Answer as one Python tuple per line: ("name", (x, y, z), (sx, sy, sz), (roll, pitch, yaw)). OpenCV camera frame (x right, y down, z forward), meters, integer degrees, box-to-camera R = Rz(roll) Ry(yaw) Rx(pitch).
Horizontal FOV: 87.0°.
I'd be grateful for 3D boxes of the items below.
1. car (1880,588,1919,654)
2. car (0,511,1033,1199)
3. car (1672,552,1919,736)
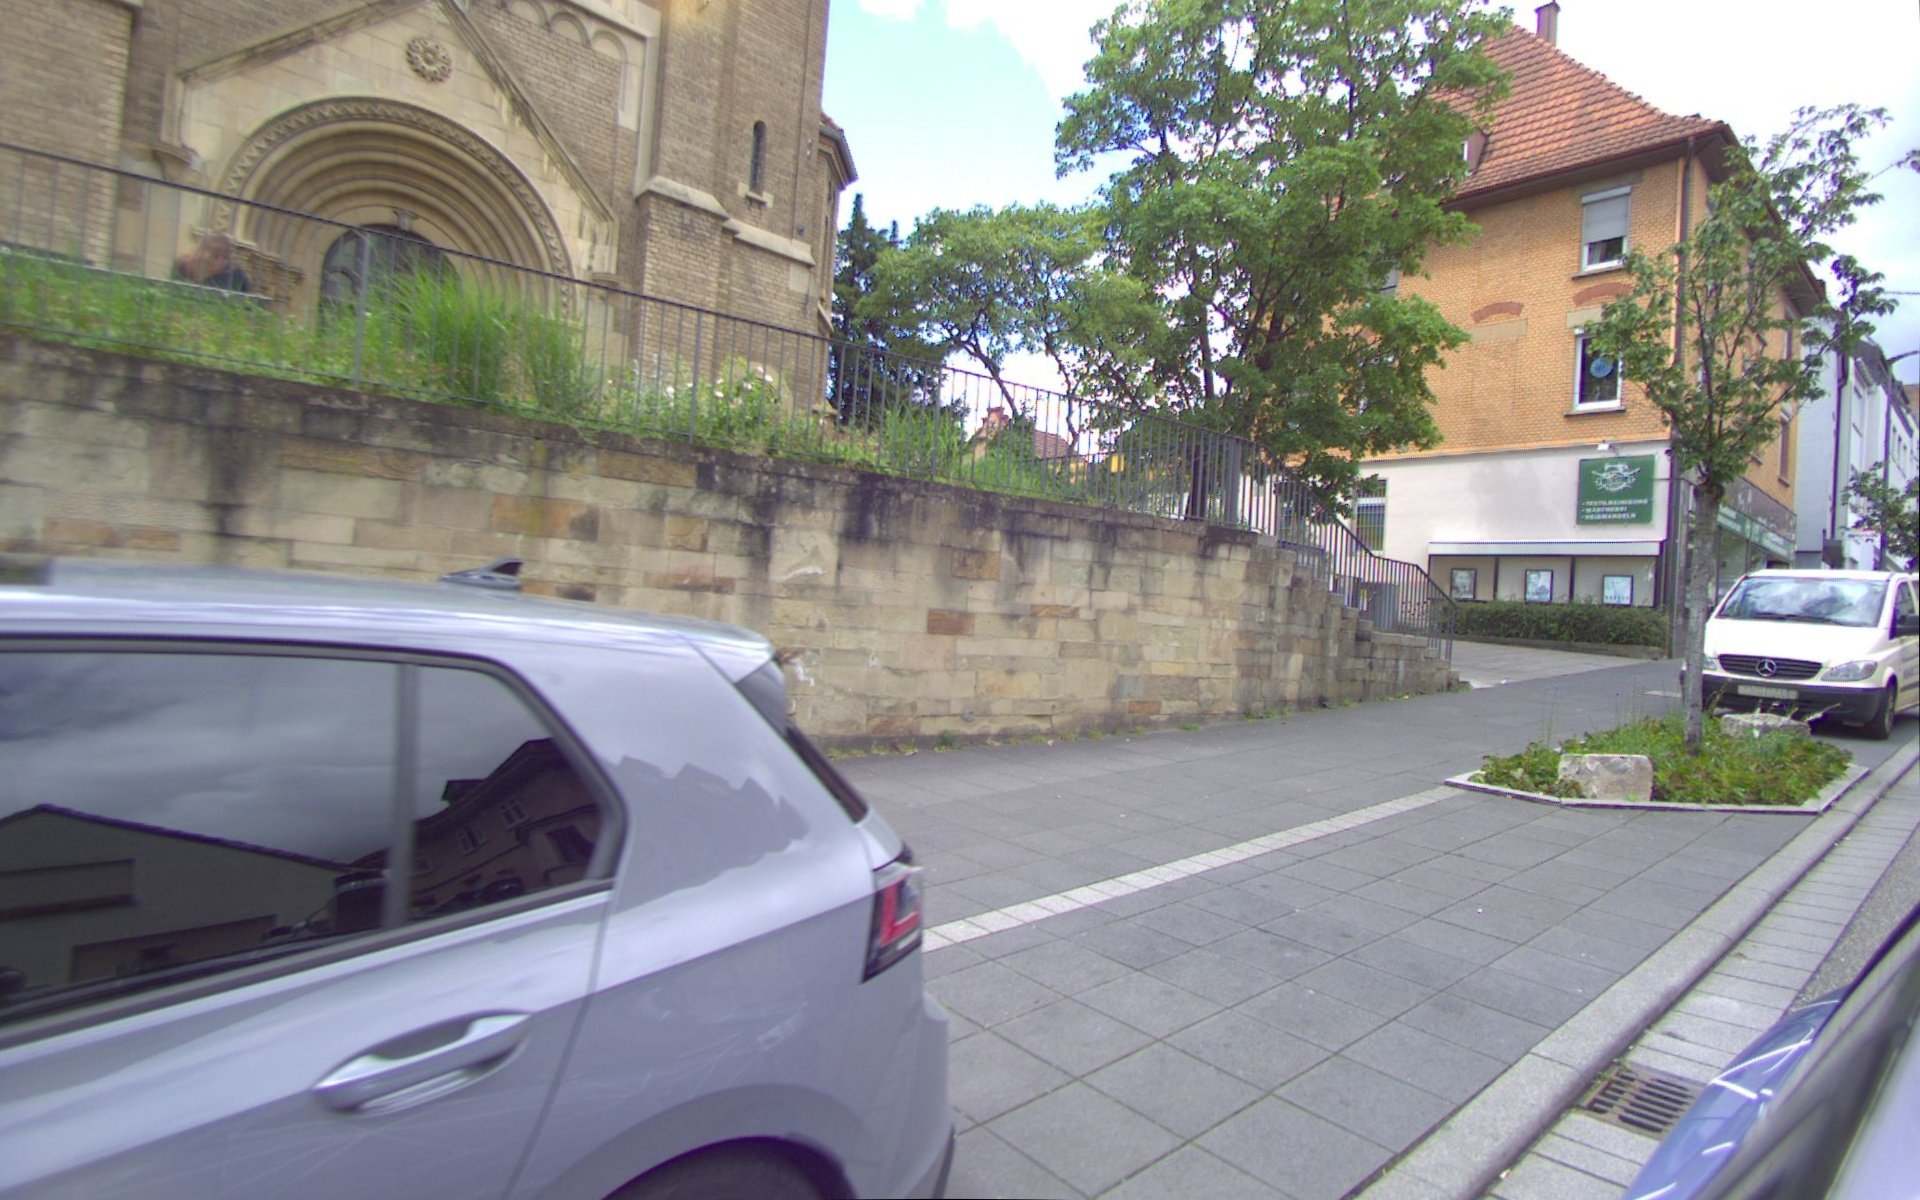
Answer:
("car", (23.502, 0.507, 24.164), (3.878, 1.465, 1.815), (0, 5, -42))
("car", (-1.952, 0.618, 1.020), (4.020, 1.459, 1.757), (0, 2, -43))
("car", (10.942, 0.421, 12.611), (4.936, 1.870, 1.891), (0, 2, -37))
